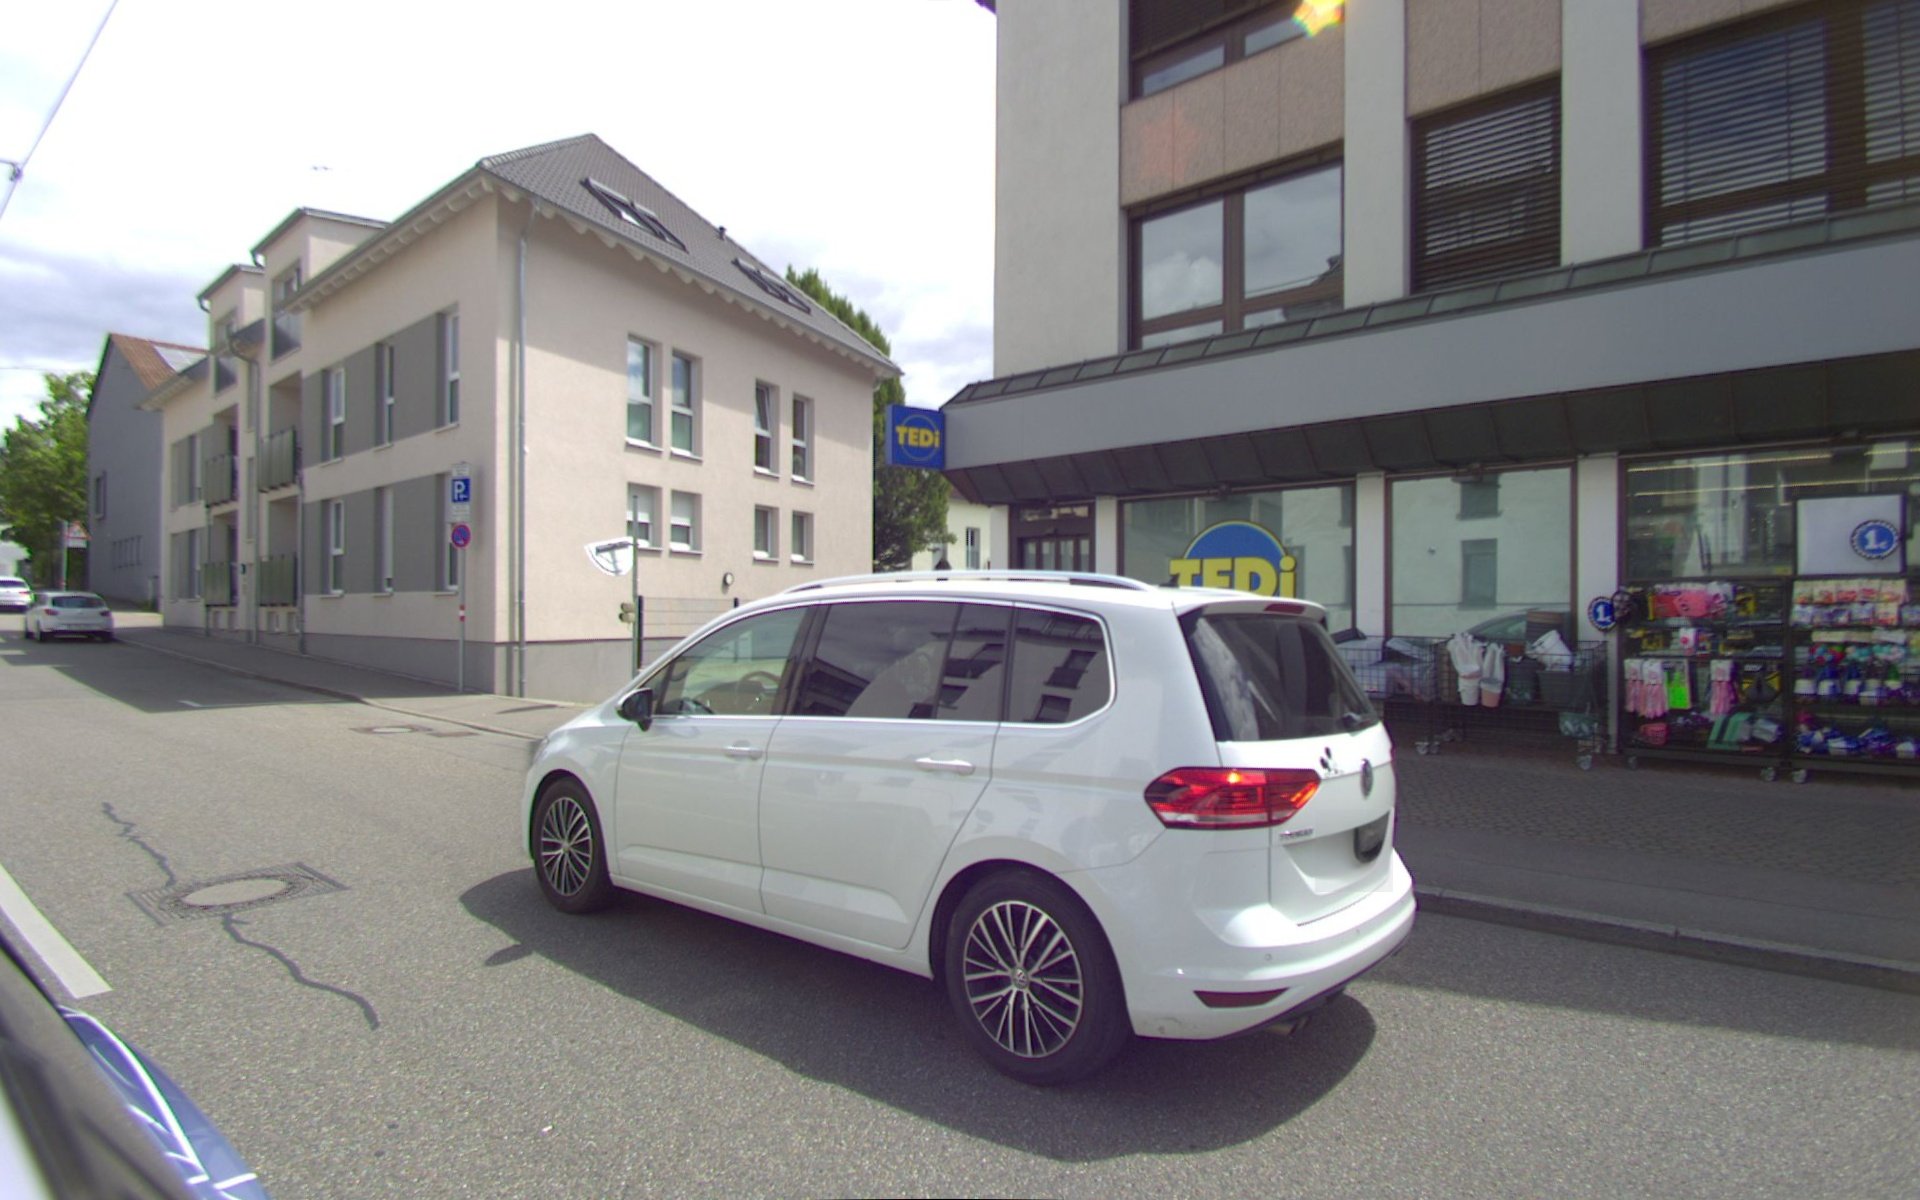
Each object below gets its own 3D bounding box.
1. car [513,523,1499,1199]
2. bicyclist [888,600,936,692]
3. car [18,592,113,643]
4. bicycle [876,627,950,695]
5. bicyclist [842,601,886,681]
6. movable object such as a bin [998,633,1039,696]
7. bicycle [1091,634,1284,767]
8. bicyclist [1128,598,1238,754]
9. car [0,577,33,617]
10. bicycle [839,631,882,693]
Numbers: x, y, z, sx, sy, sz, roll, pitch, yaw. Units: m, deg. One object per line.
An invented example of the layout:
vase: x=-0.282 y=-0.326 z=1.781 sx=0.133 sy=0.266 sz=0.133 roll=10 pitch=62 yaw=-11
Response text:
car: x=-0.102 y=0.677 z=4.458 sx=4.116 sy=1.625 sz=1.757 roll=-1 pitch=-3 yaw=40
bicyclist: x=-0.730 y=0.705 z=15.520 sx=0.584 sy=1.376 sz=0.422 roll=-2 pitch=-2 yaw=19
car: x=-26.019 y=0.483 z=29.409 sx=3.473 sy=1.340 sz=1.643 roll=2 pitch=0 yaw=42
bicycle: x=-0.701 y=0.911 z=15.570 sx=0.551 sy=0.961 sz=1.680 roll=-1 pitch=-1 yaw=19
bicyclist: x=-1.535 y=0.644 z=16.156 sx=0.631 sy=1.251 sz=0.428 roll=0 pitch=0 yaw=-16
movable object such as a bin: x=0.887 y=0.977 z=15.353 sx=0.443 sy=0.918 sz=0.403 roll=-3 pitch=-2 yaw=41
bicycle: x=2.068 y=0.881 z=9.368 sx=1.733 sy=1.058 sz=0.439 roll=0 pitch=3 yaw=41
bicyclist: x=2.085 y=0.673 z=9.449 sx=0.761 sy=1.347 sz=0.660 roll=0 pitch=3 yaw=41
car: x=-39.431 y=-0.178 z=41.457 sx=4.066 sy=1.499 sz=1.714 roll=3 pitch=0 yaw=42
bicycle: x=-1.597 y=0.960 z=16.123 sx=0.451 sy=0.924 sz=1.594 roll=-1 pitch=-1 yaw=-13
